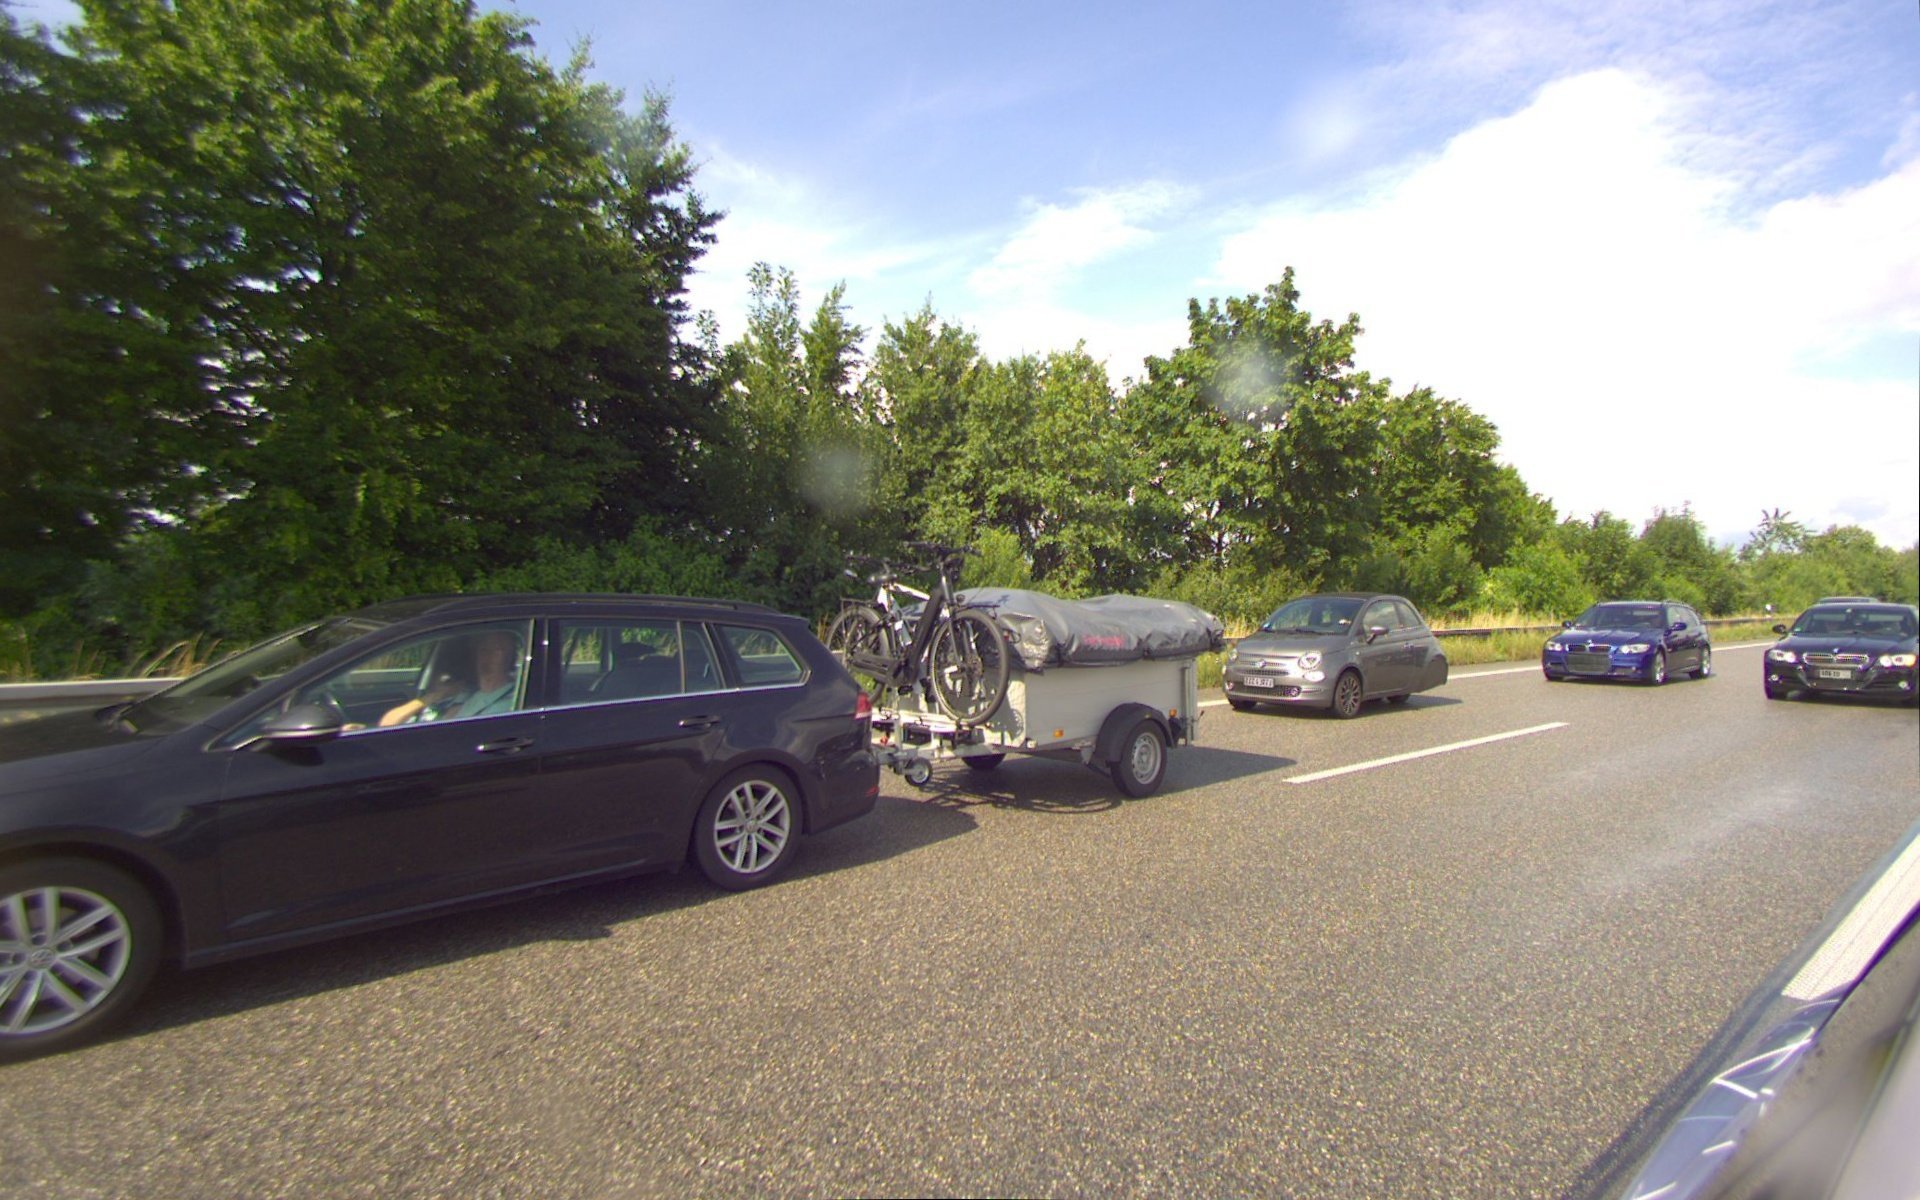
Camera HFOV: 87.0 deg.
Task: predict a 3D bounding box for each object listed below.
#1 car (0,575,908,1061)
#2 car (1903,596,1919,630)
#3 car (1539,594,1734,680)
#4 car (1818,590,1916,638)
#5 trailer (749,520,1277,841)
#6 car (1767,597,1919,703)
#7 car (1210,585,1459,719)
[{"bbox_3d":[-2.427,0.632,4.681,4.333,1.449,1.744,0,1,-45],"label":"car"},{"bbox_3d":[47.131,0.639,48.963,3.931,1.594,1.866,0,1,-41],"label":"car"},{"bbox_3d":[12.414,0.582,18.453,4.498,1.368,1.770,0,1,-40],"label":"car"},{"bbox_3d":[30.485,0.424,33.977,4.176,1.509,1.997,0,1,-41],"label":"car"},{"bbox_3d":[0.579,0.442,7.608,3.902,1.768,1.807,0,0,-44],"label":"trailer"},{"bbox_3d":[13.592,0.665,15.099,3.815,1.371,1.721,0,0,-40],"label":"car"},{"bbox_3d":[4.932,0.573,13.153,3.421,1.507,1.614,0,1,-41],"label":"car"}]
